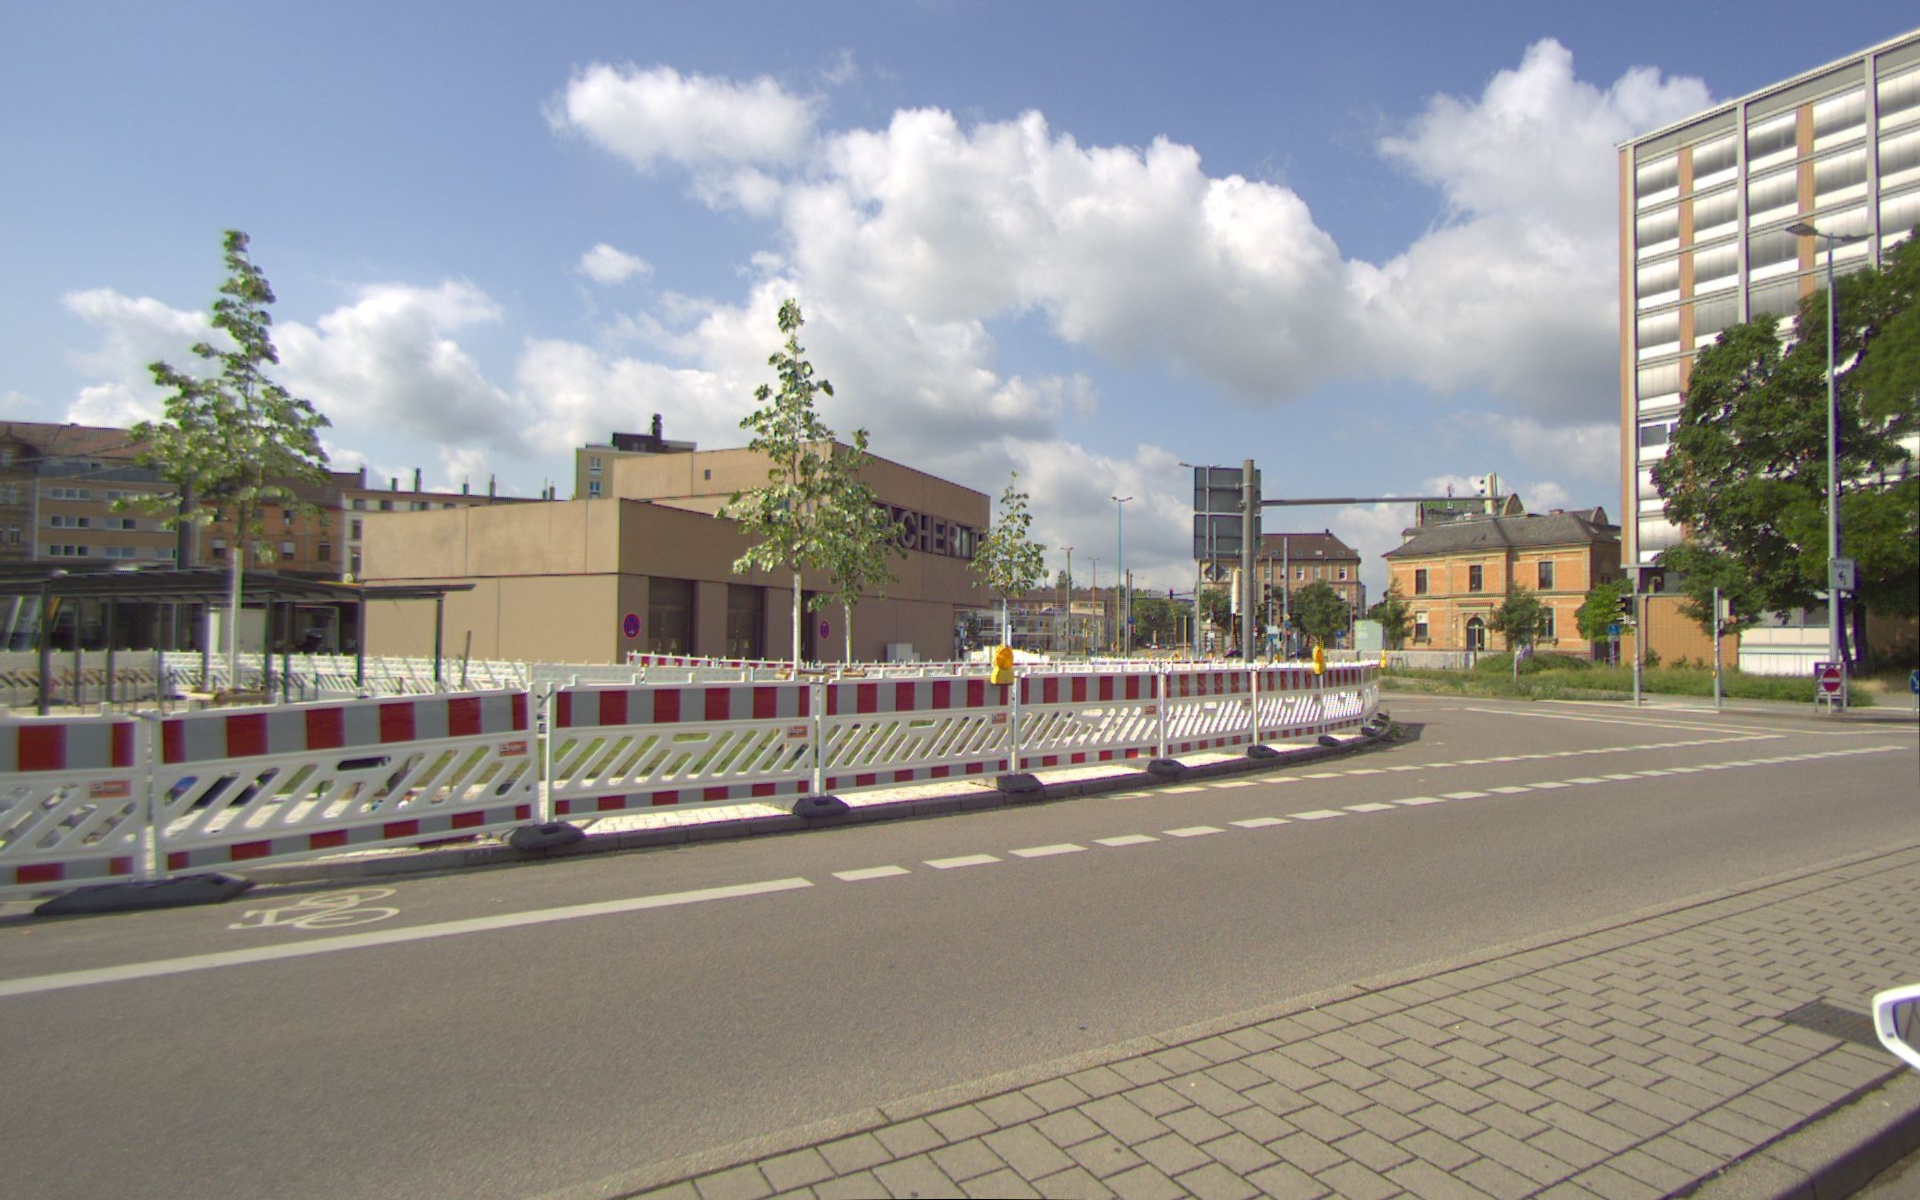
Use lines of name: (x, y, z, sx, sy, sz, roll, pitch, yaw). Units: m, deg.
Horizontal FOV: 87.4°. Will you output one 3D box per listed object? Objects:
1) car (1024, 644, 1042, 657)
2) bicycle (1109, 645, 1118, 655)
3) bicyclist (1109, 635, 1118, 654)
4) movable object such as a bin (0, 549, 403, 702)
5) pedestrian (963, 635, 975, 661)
car: (10.139, 6.910, 138.763, 1.814, 1.742, 4.003, 0, -2, 14)
bicycle: (15.412, 5.031, 100.731, 0.606, 1.015, 2.020, 0, -3, 16)
bicyclist: (15.441, 4.487, 100.850, 0.797, 1.846, 1.160, 1, -2, 15)
movable object such as a bin: (-20.940, 0.765, 27.783, 2.965, 3.468, 9.679, -1, -2, 26)
pedestrian: (0.581, 3.142, 65.527, 0.724, 1.703, 0.640, 1, -2, -8)
